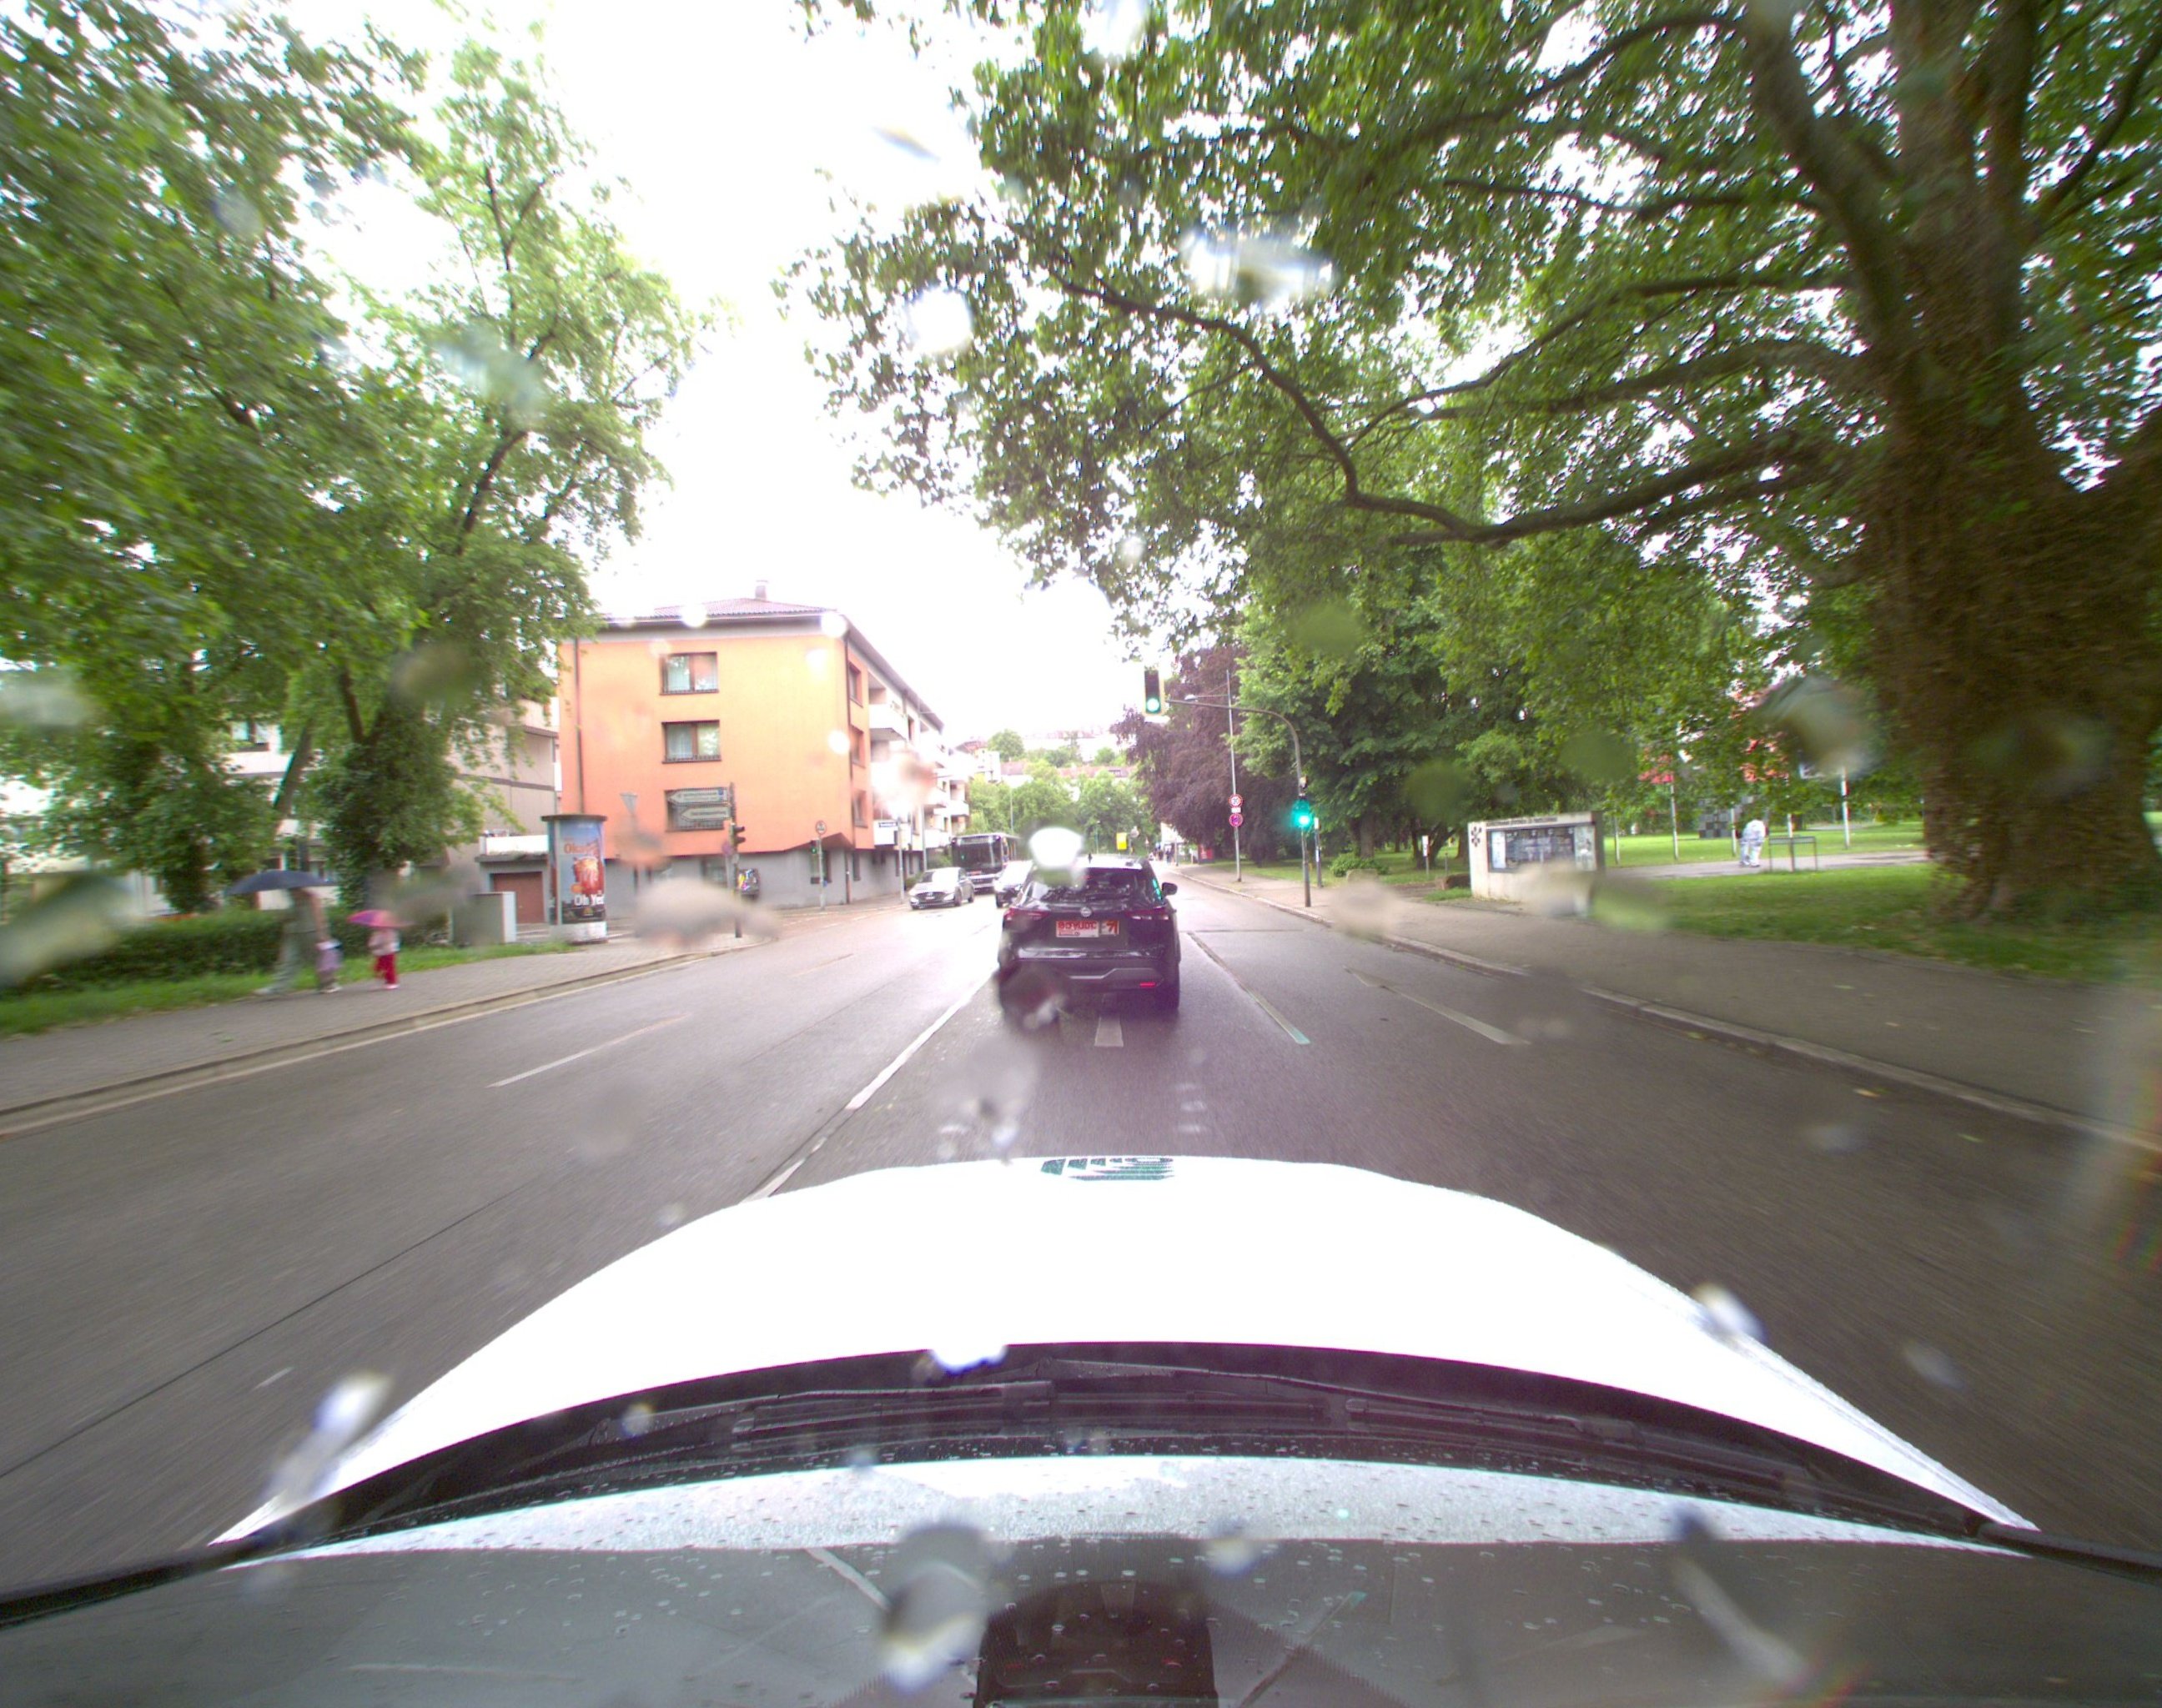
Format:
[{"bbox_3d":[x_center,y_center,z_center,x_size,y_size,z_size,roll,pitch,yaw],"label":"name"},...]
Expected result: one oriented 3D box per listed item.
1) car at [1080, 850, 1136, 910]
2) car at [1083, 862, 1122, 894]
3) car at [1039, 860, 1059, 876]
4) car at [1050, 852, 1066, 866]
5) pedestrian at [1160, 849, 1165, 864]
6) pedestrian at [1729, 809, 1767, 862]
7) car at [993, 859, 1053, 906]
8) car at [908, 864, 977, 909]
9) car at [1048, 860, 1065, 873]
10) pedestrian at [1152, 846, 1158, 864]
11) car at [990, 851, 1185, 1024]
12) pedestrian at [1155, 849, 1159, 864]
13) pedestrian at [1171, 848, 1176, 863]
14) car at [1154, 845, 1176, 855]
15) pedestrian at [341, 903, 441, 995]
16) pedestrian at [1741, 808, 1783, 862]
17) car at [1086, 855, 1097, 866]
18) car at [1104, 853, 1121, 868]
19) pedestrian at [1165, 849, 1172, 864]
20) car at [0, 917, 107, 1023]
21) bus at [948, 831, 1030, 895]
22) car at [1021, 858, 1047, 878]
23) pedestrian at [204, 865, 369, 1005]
[{"bbox_3d":[0.934,0.790,26.647,1.615,1.709,3.774,-4,0,3],"label":"car"},{"bbox_3d":[1.026,1.132,40.200,1.802,1.417,4.031,-2,0,1],"label":"car"},{"bbox_3d":[-3.180,1.385,81.319,1.671,1.469,4.217,-4,0,1],"label":"car"},{"bbox_3d":[-2.953,0.660,103.975,1.743,1.633,3.636,-3,0,2],"label":"car"},{"bbox_3d":[9.224,0.264,92.374,0.542,1.651,0.490,0,-1,2],"label":"pedestrian"},{"bbox_3d":[22.338,-0.603,27.277,0.663,1.756,0.722,0,-1,-7],"label":"pedestrian"},{"bbox_3d":[-1.941,0.944,28.084,1.618,1.415,3.456,-3,0,2],"label":"car"},{"bbox_3d":[-5.176,1.190,30.996,1.802,1.417,4.031,-4,0,1],"label":"car"},{"bbox_3d":[-2.757,1.427,91.606,1.671,1.296,3.752,-4,0,1],"label":"car"},{"bbox_3d":[9.413,0.142,103.305,0.764,2.184,0.712,-1,-1,5],"label":"pedestrian"},{"bbox_3d":[0.128,0.800,9.568,1.799,1.590,4.001,0,-1,2],"label":"car"},{"bbox_3d":[8.604,0.267,92.247,0.473,1.651,0.490,0,-1,2],"label":"pedestrian"},{"bbox_3d":[10.251,0.160,90.476,0.513,1.655,0.550,0,-1,1],"label":"pedestrian"},{"bbox_3d":[16.899,-0.765,163.268,3.986,1.684,1.994,-3,0,-9],"label":"car"},{"bbox_3d":[-9.594,1.302,11.350,0.681,1.175,0.827,-1,0,1],"label":"pedestrian"},{"bbox_3d":[22.018,-0.613,26.338,0.663,1.712,0.788,0,-1,-7],"label":"pedestrian"},{"bbox_3d":[1.842,1.064,139.668,1.757,1.758,3.636,-3,0,2],"label":"car"},{"bbox_3d":[3.171,0.614,82.414,1.618,1.415,3.456,-3,0,2],"label":"car"},{"bbox_3d":[9.970,0.259,92.519,0.696,1.651,0.628,0,-1,2],"label":"pedestrian"},{"bbox_3d":[-18.033,1.828,12.955,3.182,1.524,1.507,0,-1,-1],"label":"car"},{"bbox_3d":[-4.873,0.489,45.663,2.756,2.974,11.785,-3,-1,2],"label":"bus"},{"bbox_3d":[-3.868,1.144,67.056,1.741,1.469,4.217,-4,0,1],"label":"car"},{"bbox_3d":[-10.500,1.022,10.818,0.988,1.742,1.210,-1,0,1],"label":"pedestrian"}]
